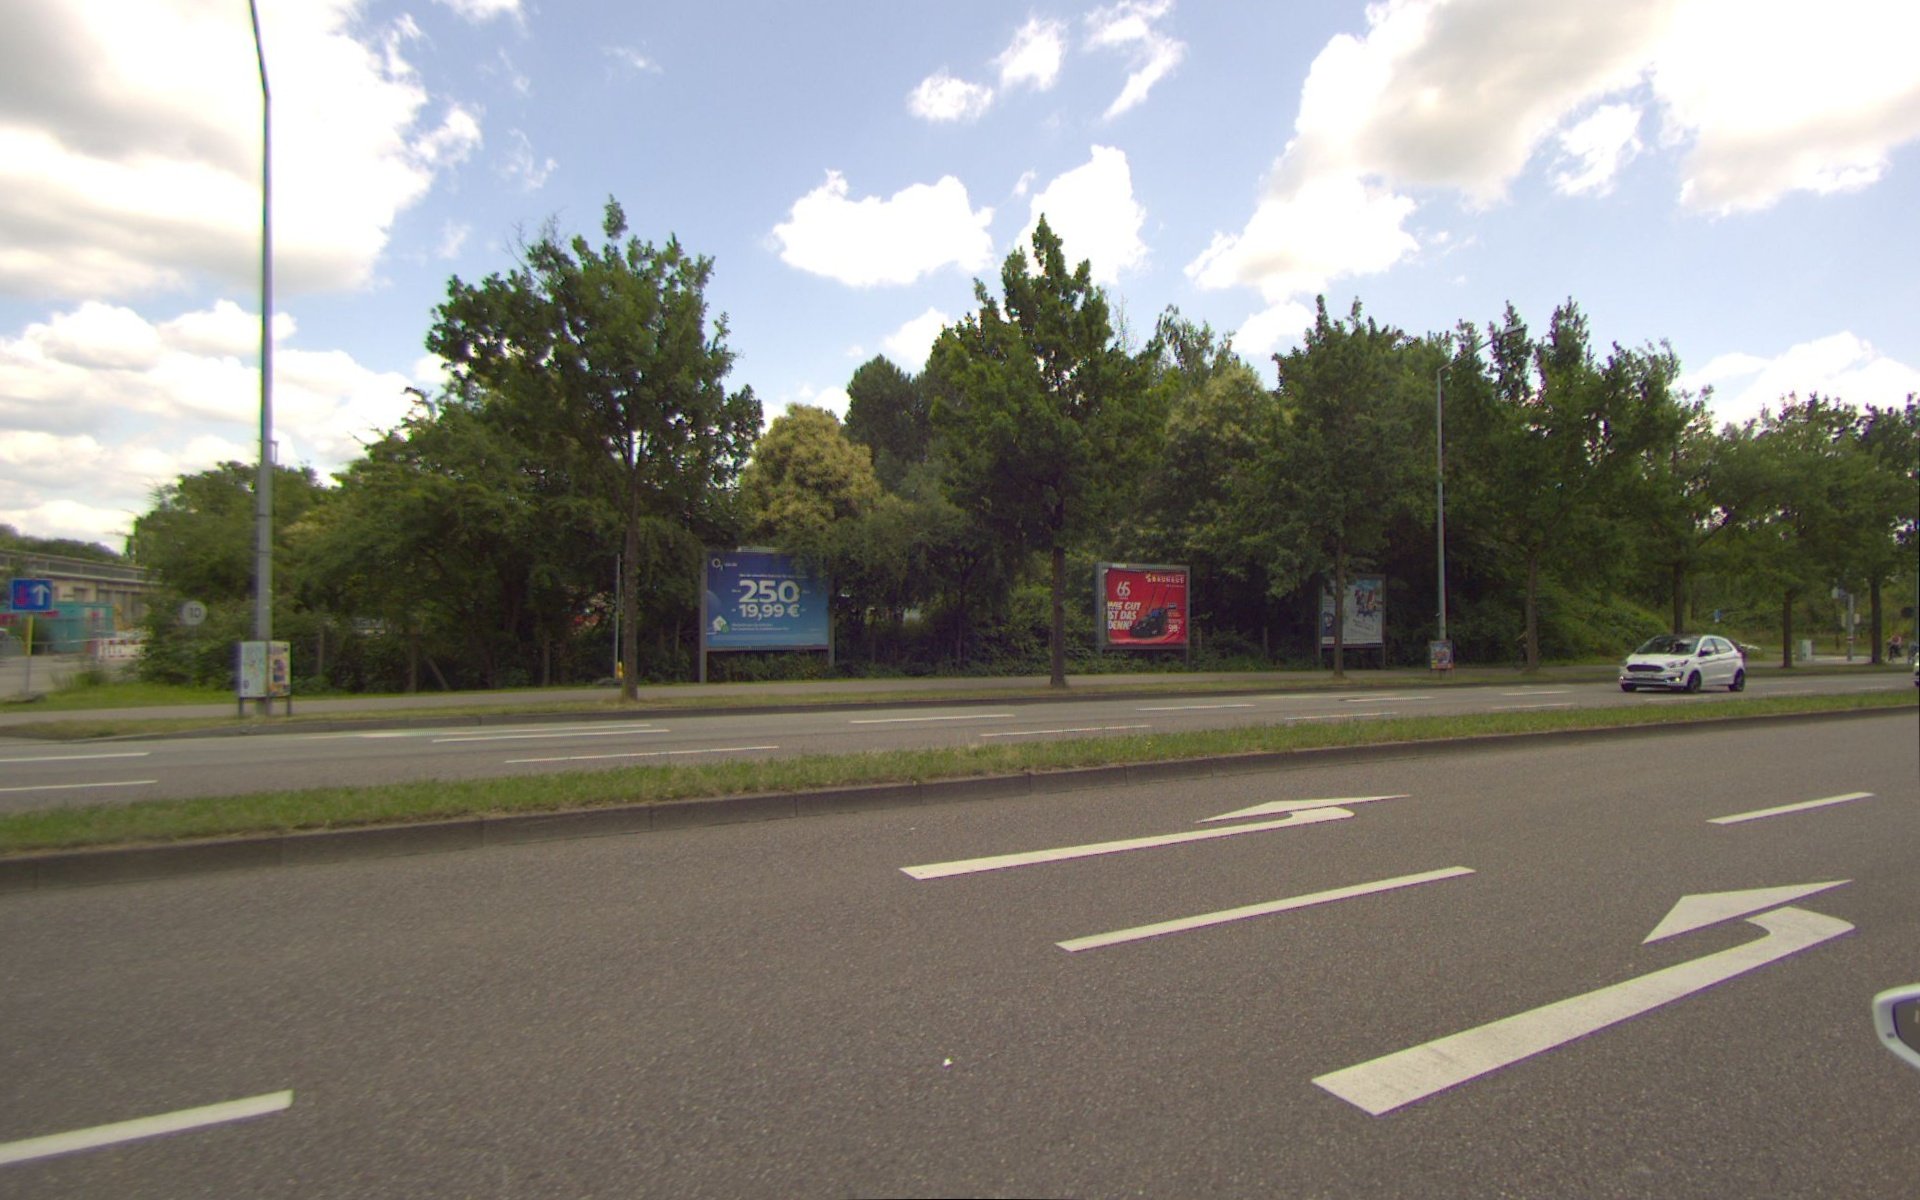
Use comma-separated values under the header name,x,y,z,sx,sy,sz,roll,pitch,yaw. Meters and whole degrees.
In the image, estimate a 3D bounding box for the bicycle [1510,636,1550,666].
name,x,y,z,sx,sy,sz,roll,pitch,yaw
bicycle,22.287,1.998,39.264,1.824,1.121,0.507,2,0,-32

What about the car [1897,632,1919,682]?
name,x,y,z,sx,sy,sz,roll,pitch,yaw
car,30.080,1.695,29.809,4.965,1.450,1.984,1,-2,-30

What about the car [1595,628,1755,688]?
name,x,y,z,sx,sy,sz,roll,pitch,yaw
car,19.019,1.518,26.684,4.365,1.461,1.905,1,-3,-32

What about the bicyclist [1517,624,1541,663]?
name,x,y,z,sx,sy,sz,roll,pitch,yaw
bicyclist,22.216,1.680,39.208,0.705,1.484,0.491,2,0,-33

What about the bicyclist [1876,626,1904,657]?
name,x,y,z,sx,sy,sz,roll,pitch,yaw
bicyclist,54.389,2.415,58.740,0.985,1.770,0.888,2,0,-30

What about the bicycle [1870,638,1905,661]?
name,x,y,z,sx,sy,sz,roll,pitch,yaw
bicycle,54.295,2.876,58.796,2.364,1.287,0.818,2,0,-30

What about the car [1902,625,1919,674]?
name,x,y,z,sx,sy,sz,roll,pitch,yaw
car,38.000,1.871,38.292,4.360,1.825,1.983,1,-2,-32
